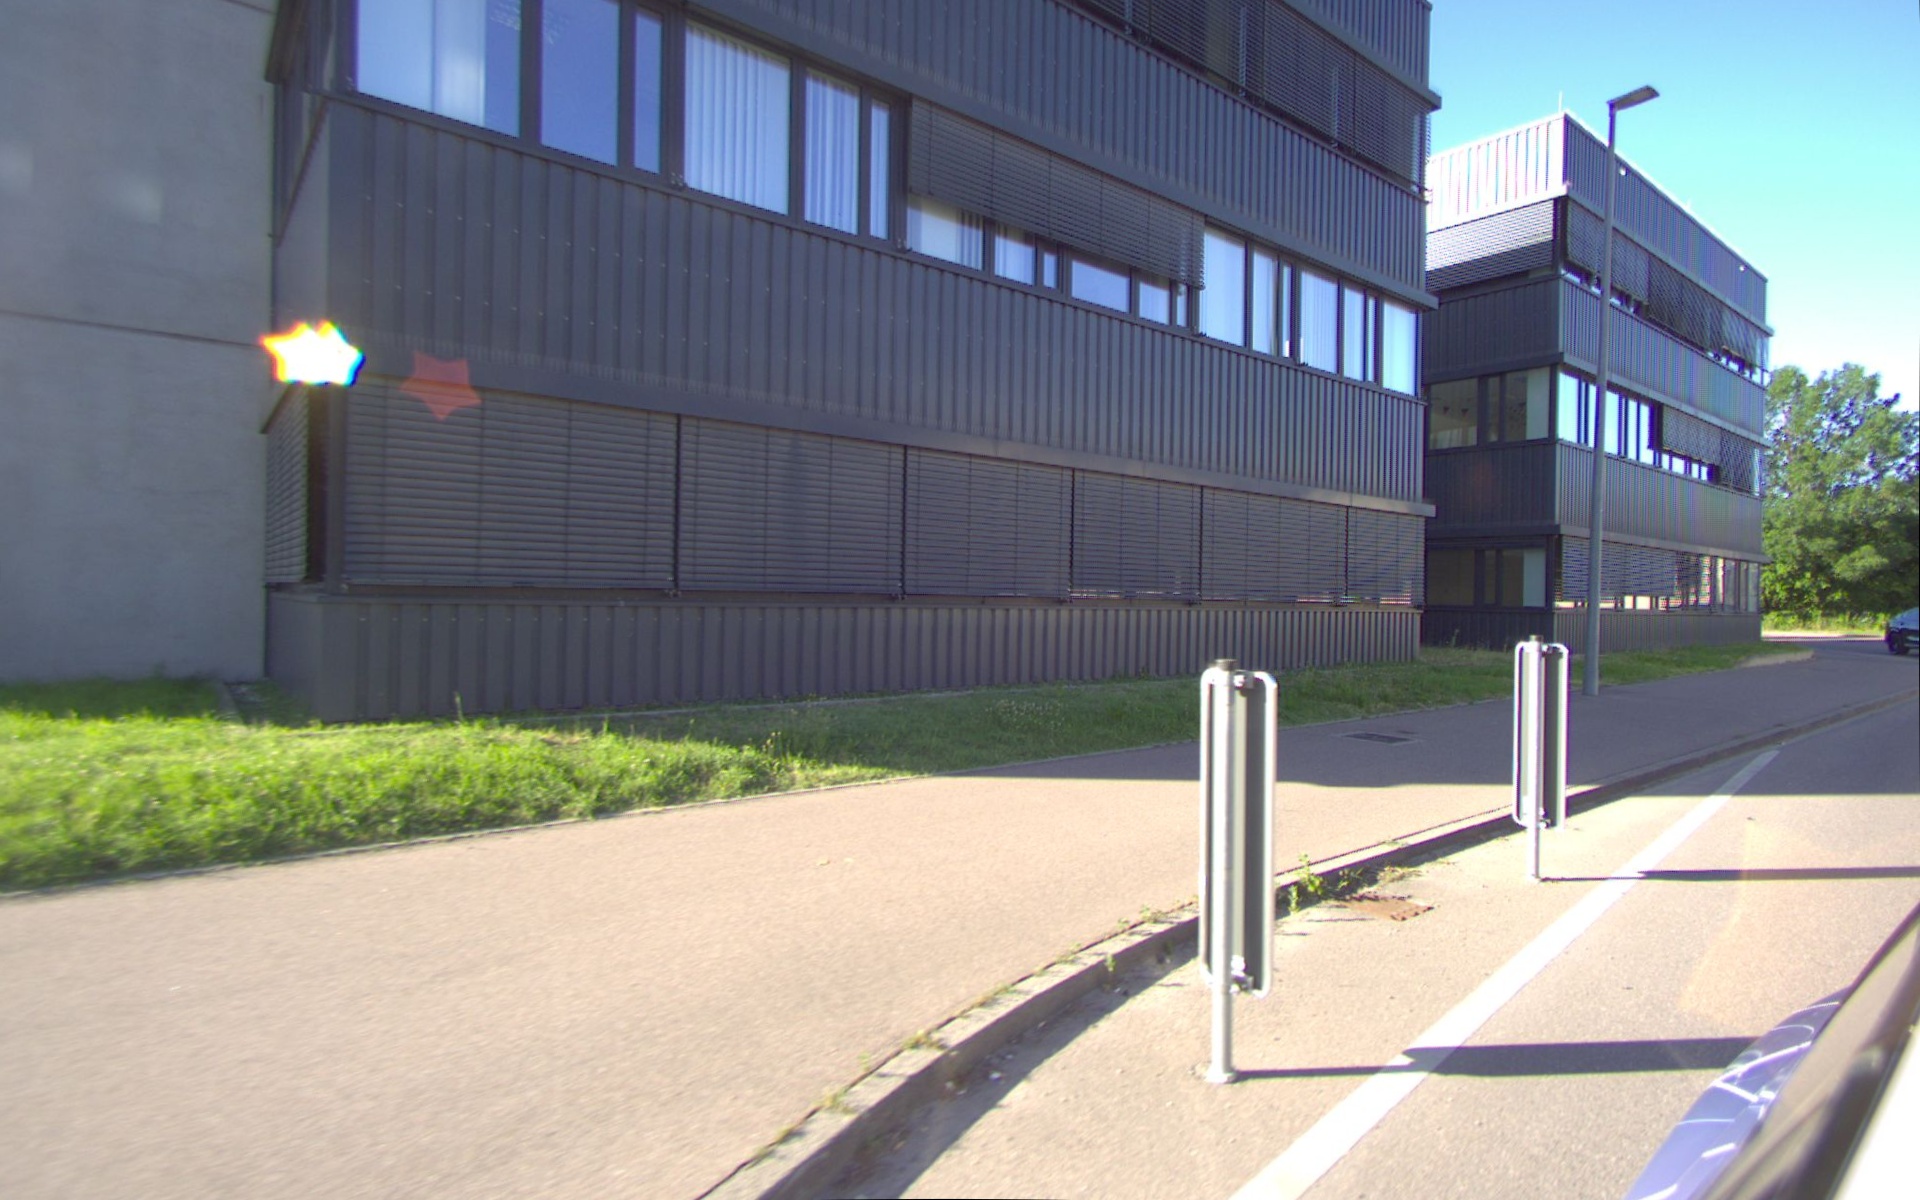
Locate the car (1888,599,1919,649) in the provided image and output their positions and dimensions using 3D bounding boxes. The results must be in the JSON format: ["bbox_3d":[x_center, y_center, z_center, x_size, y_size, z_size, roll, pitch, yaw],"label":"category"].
[{"bbox_3d":[33.047,0.837,33.051,2.008,1.653,4.595,0,1,14],"label":"car"}]
